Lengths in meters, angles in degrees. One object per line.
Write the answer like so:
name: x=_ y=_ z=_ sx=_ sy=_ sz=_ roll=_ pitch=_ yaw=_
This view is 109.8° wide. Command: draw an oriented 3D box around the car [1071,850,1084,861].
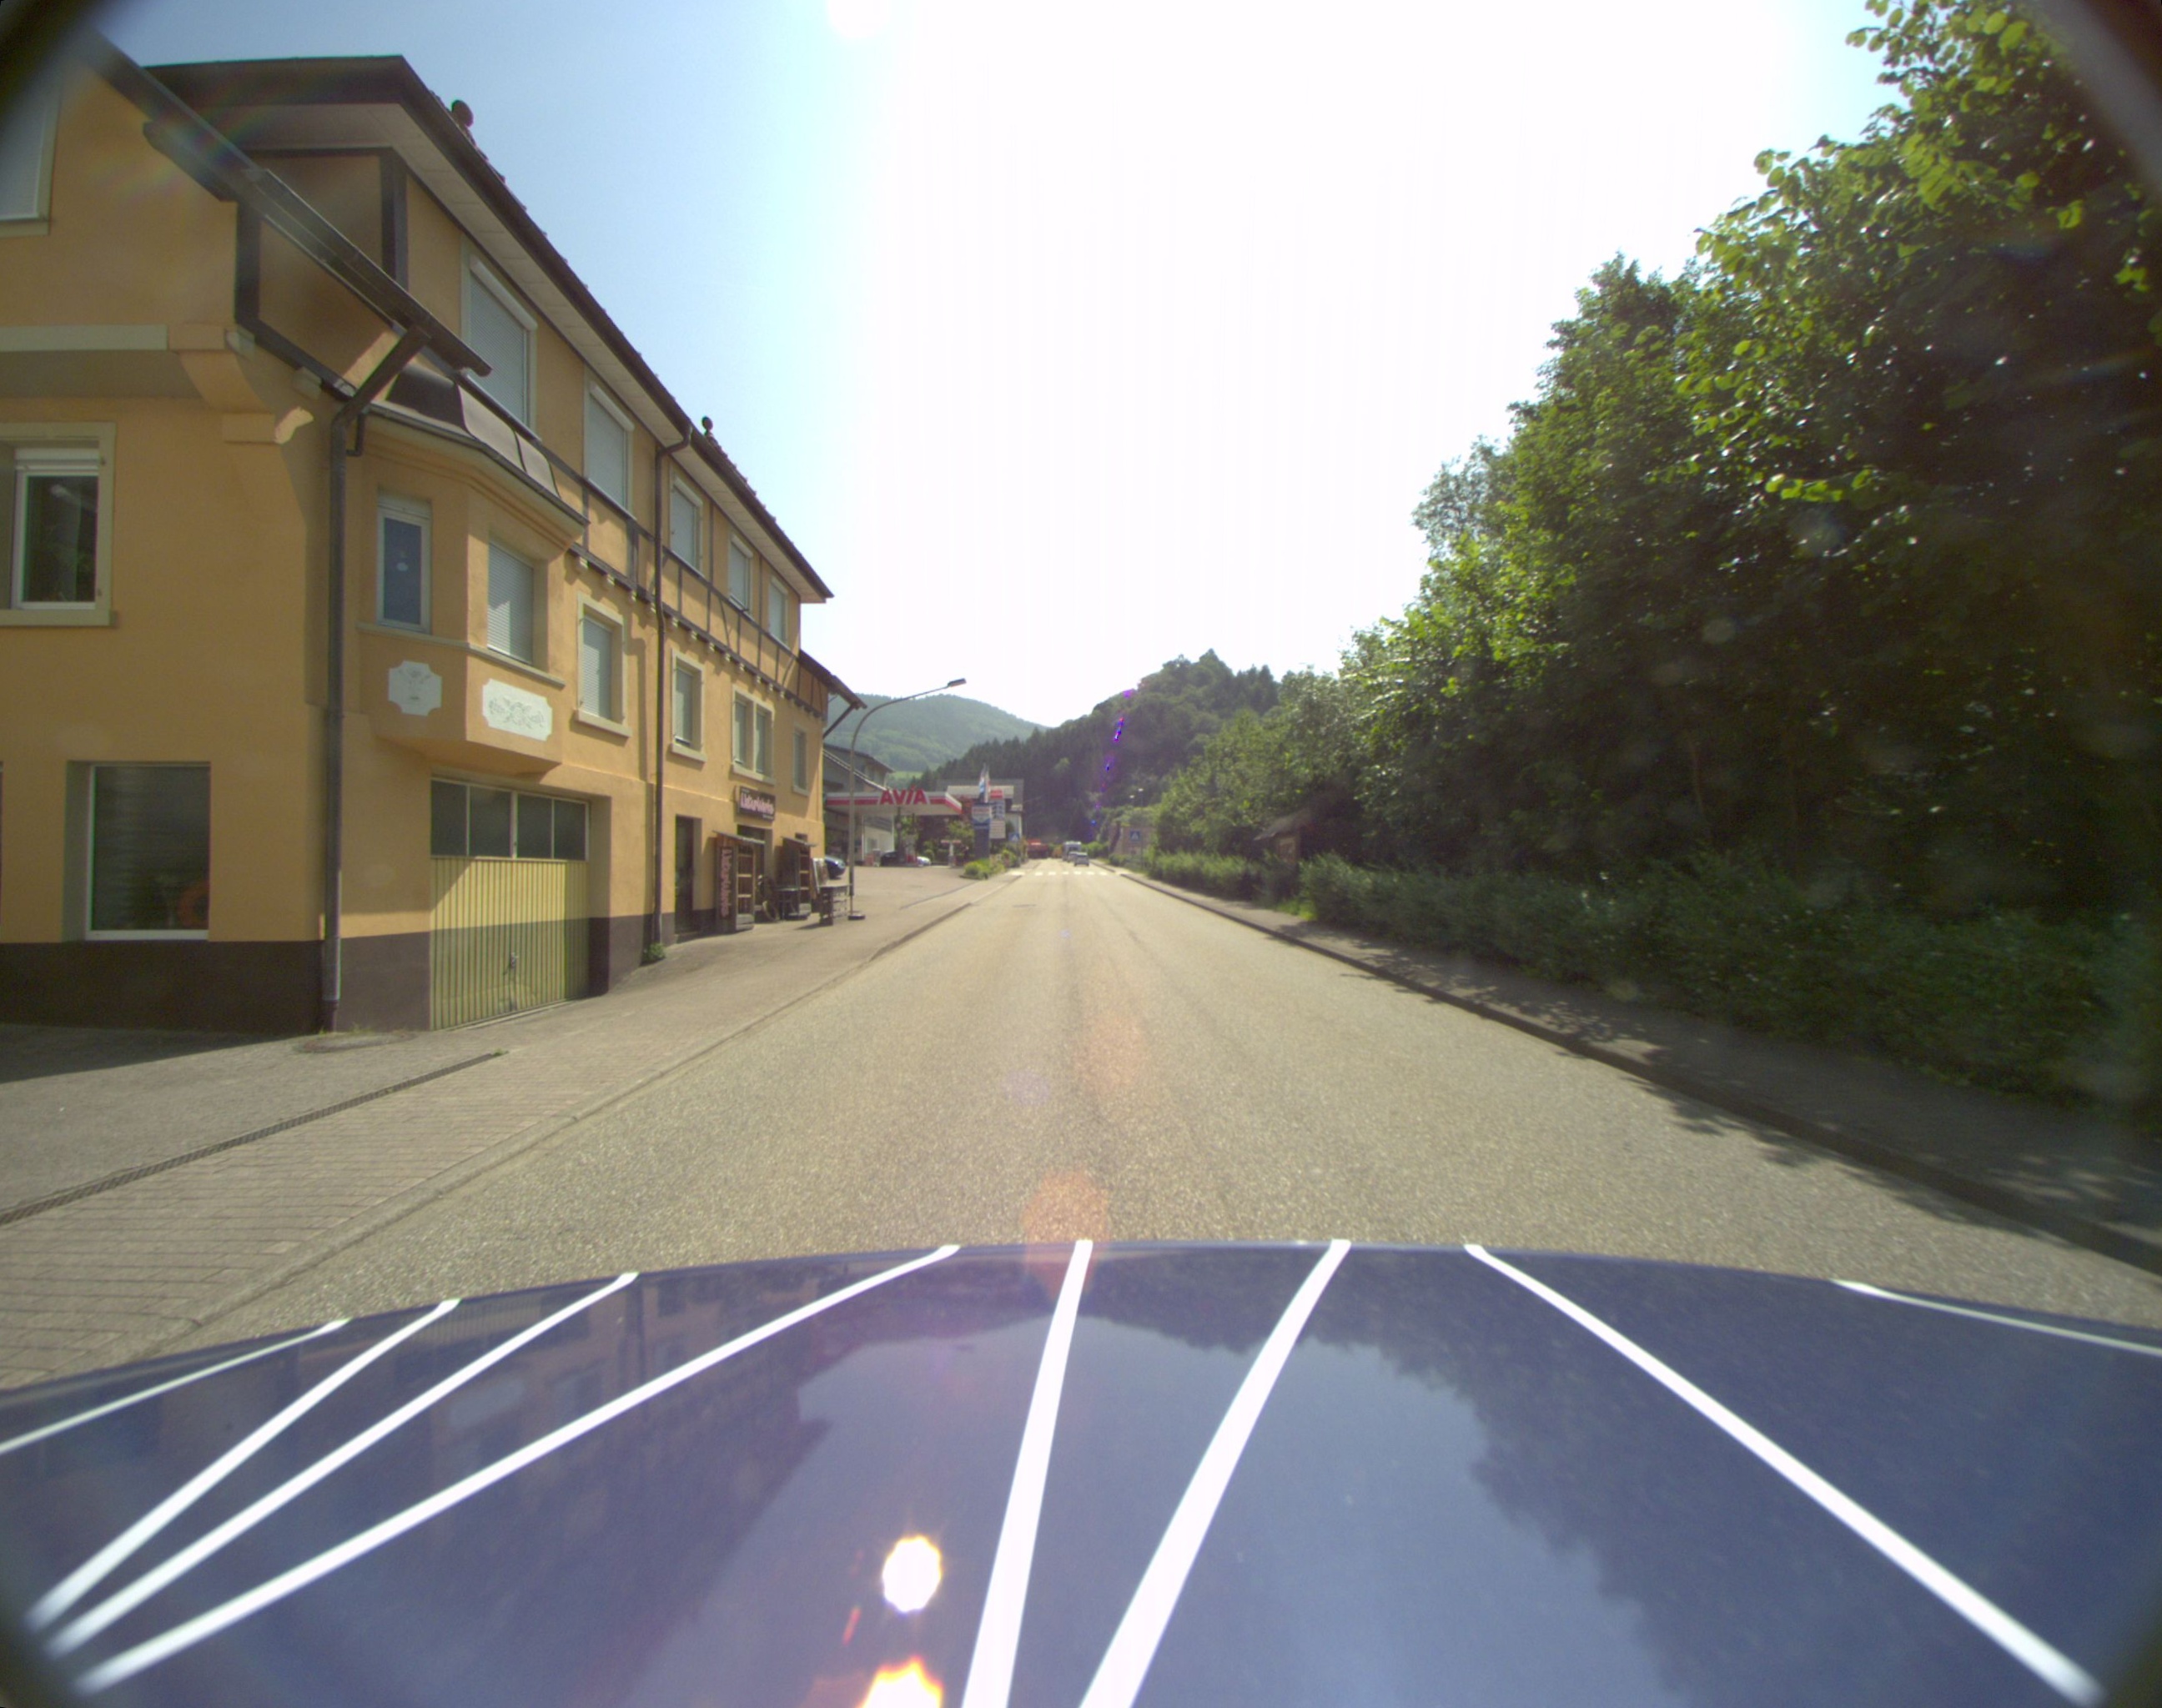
car: x=-0.507 y=0.154 z=103.267 sx=1.609 sy=1.398 sz=3.826 roll=2 pitch=1 yaw=-2

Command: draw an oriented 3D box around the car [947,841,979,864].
car: x=-8.727 y=-0.126 z=56.295 sx=1.696 sy=1.568 sz=3.910 roll=4 pitch=1 yaw=0

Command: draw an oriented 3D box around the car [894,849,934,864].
car: x=-14.508 y=0.223 z=66.093 sx=3.081 sy=1.138 sz=1.334 roll=4 pitch=1 yaw=-2

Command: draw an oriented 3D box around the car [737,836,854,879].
car: x=-12.136 y=0.133 z=32.540 sx=4.333 sy=1.536 sz=1.797 roll=4 pitch=1 yaw=-10

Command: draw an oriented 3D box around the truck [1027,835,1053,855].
truck: x=-7.731 y=-1.669 z=141.723 sx=2.655 sy=3.561 sz=8.178 roll=1 pitch=1 yaw=-18

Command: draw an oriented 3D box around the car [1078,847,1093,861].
car: x=0.468 y=0.001 z=84.492 sx=1.594 sy=1.474 sz=3.757 roll=1 pitch=0 yaw=0

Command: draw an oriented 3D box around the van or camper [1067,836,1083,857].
van or camper: x=-0.944 y=-1.065 z=114.367 sx=2.364 sy=2.936 sz=8.050 roll=1 pitch=0 yaw=-1
